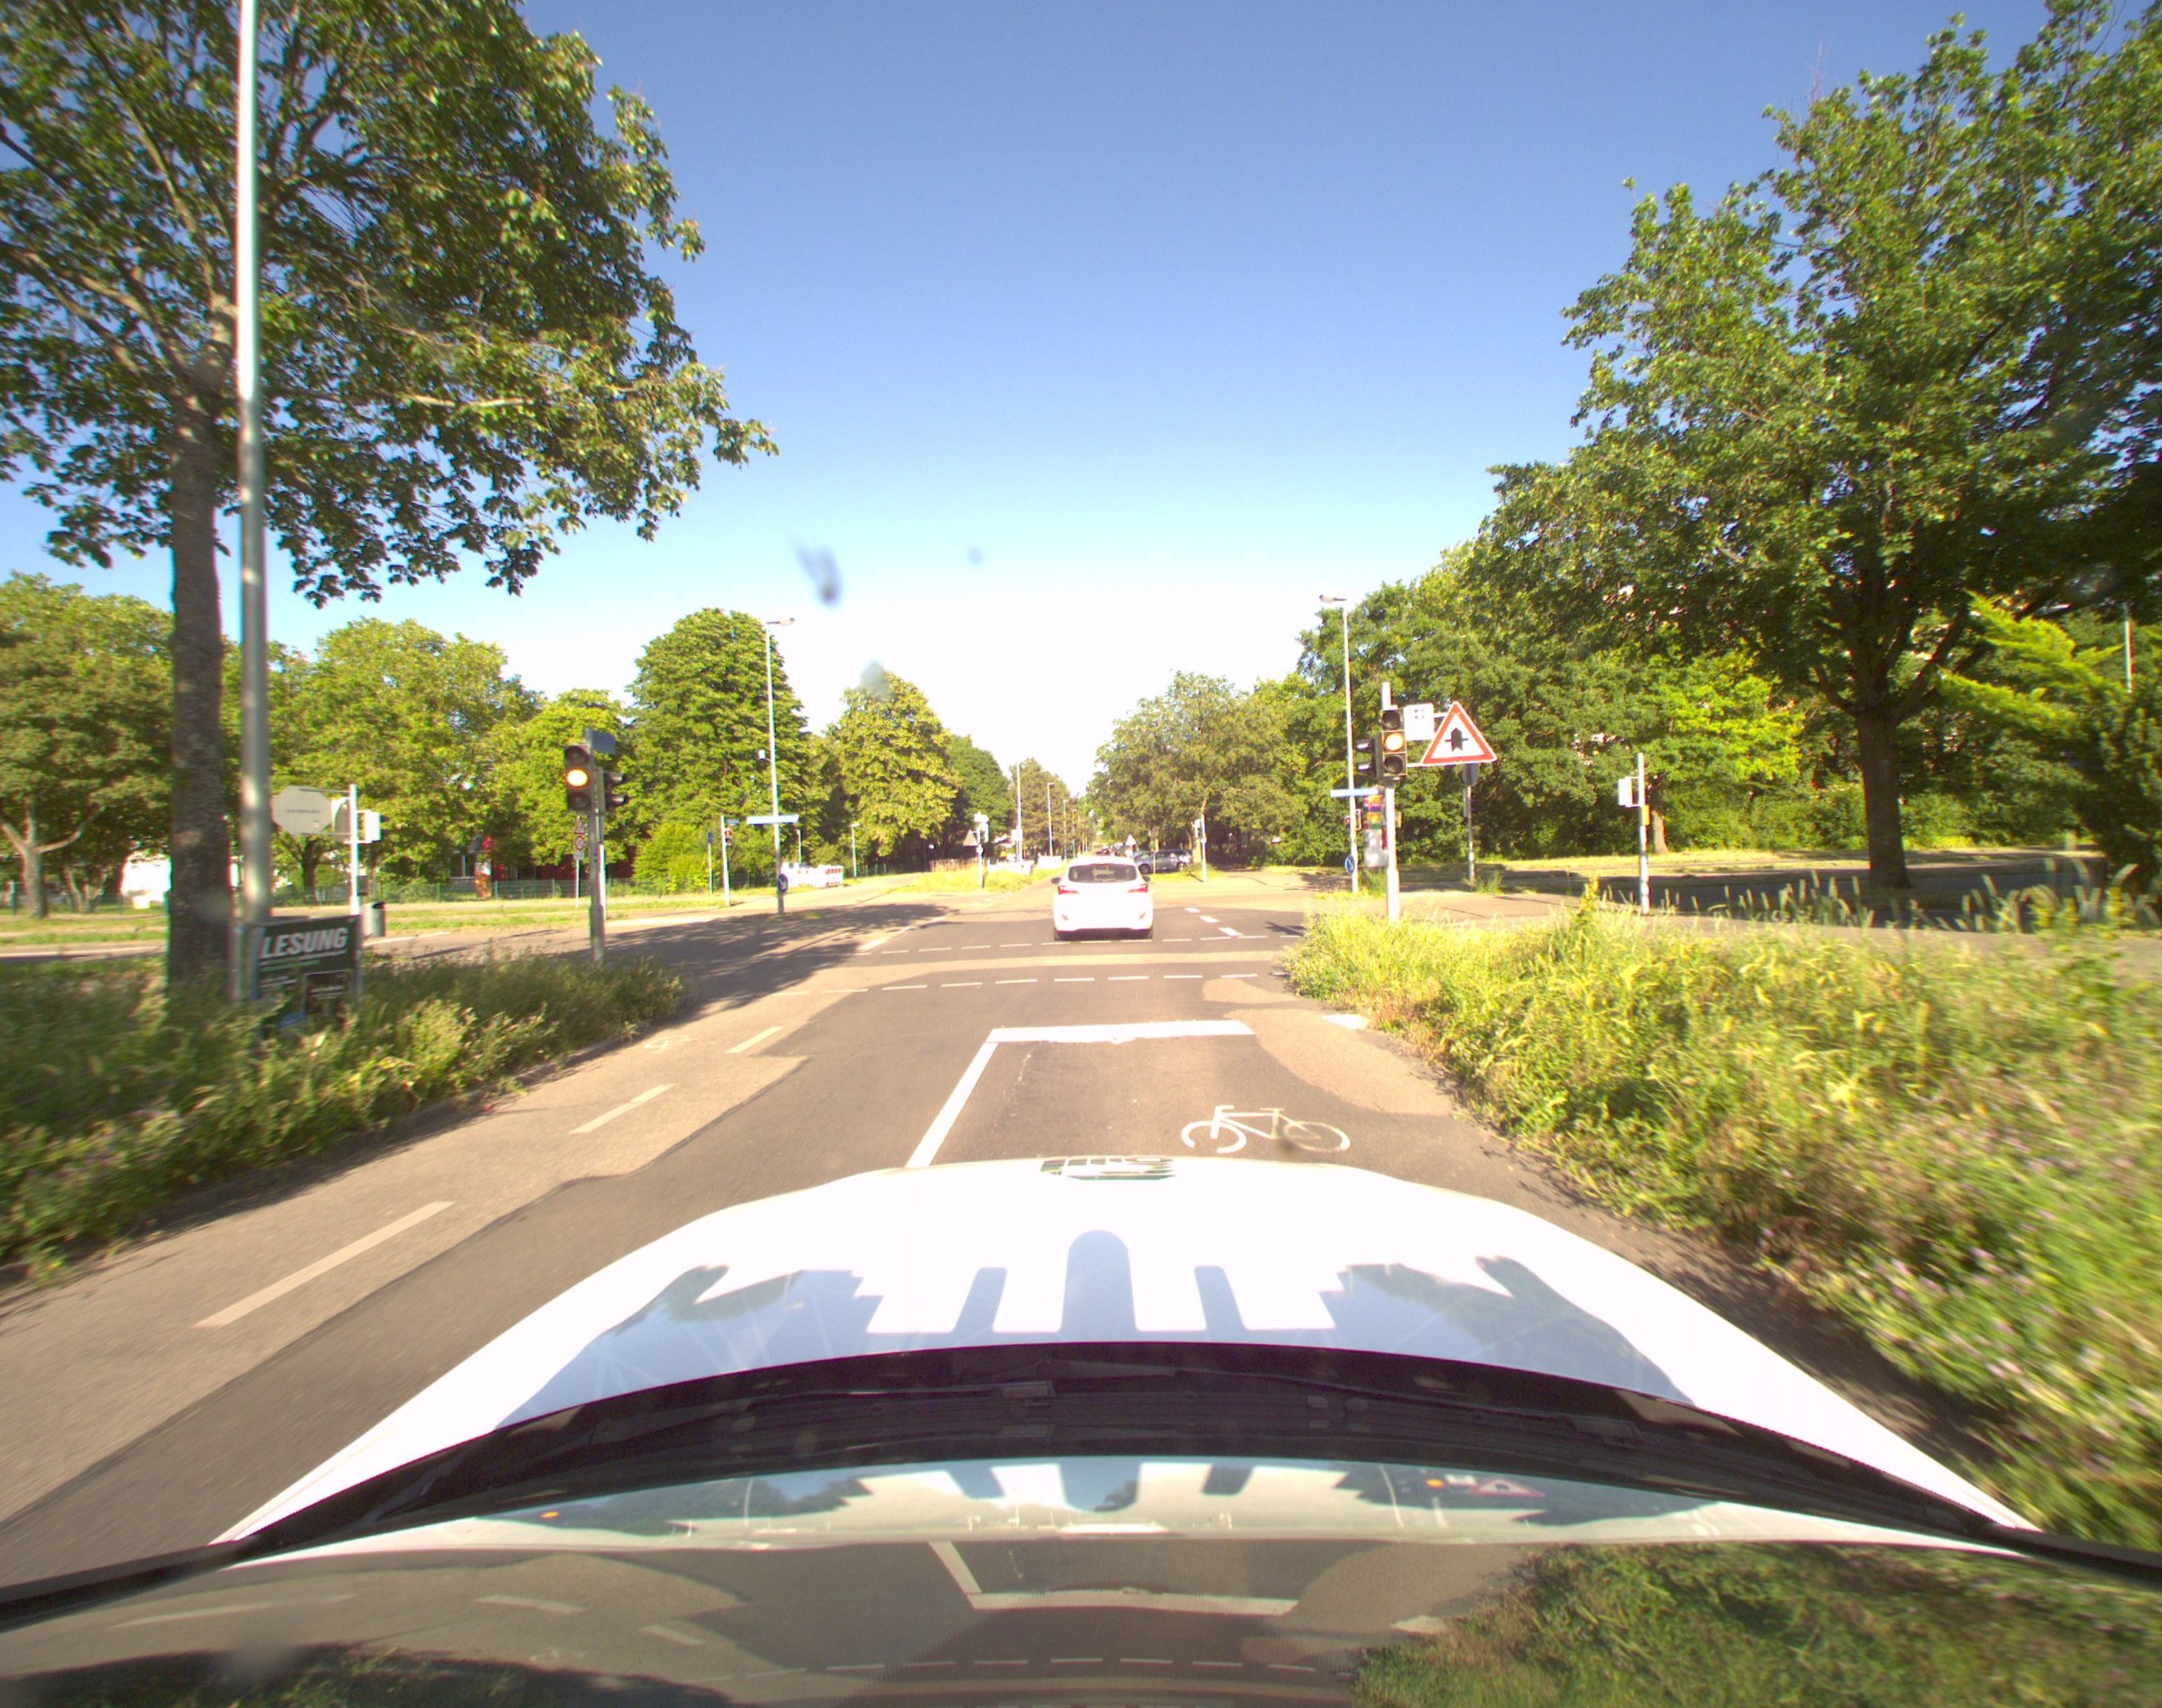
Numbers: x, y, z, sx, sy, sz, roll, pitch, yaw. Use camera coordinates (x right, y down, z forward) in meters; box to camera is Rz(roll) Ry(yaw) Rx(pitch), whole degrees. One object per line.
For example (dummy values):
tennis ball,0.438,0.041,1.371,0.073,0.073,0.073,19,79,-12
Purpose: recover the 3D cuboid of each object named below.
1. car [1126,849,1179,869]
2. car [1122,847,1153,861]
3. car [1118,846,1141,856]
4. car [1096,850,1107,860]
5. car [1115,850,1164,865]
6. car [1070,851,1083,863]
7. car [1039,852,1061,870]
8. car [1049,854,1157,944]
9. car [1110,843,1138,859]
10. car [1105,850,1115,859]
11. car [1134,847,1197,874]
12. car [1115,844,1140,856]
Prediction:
car,6.273,0.410,71.338,4.479,1.630,1.857,-2,0,4
car,6.963,0.018,101.206,3.805,1.684,1.864,-1,0,1
car,8.040,-0.495,135.415,3.805,1.767,1.864,-1,0,1
car,3.602,0.165,143.188,1.986,1.816,4.002,0,0,2
car,6.777,0.363,94.841,5.593,1.684,1.949,-1,0,1
car,-0.731,0.486,131.671,1.986,1.816,4.002,-2,0,2
car,-3.164,0.691,83.421,1.986,1.816,4.002,-1,0,2
car,0.391,0.764,15.782,1.783,1.463,3.963,-1,0,0
car,5.815,-0.442,111.275,3.805,2.098,1.864,-1,0,1
car,6.482,0.089,181.804,1.986,1.816,4.002,-1,0,2
car,6.119,0.466,59.231,4.479,1.783,1.857,-2,0,4
car,7.908,-0.649,138.569,4.286,1.907,1.864,-1,0,1
